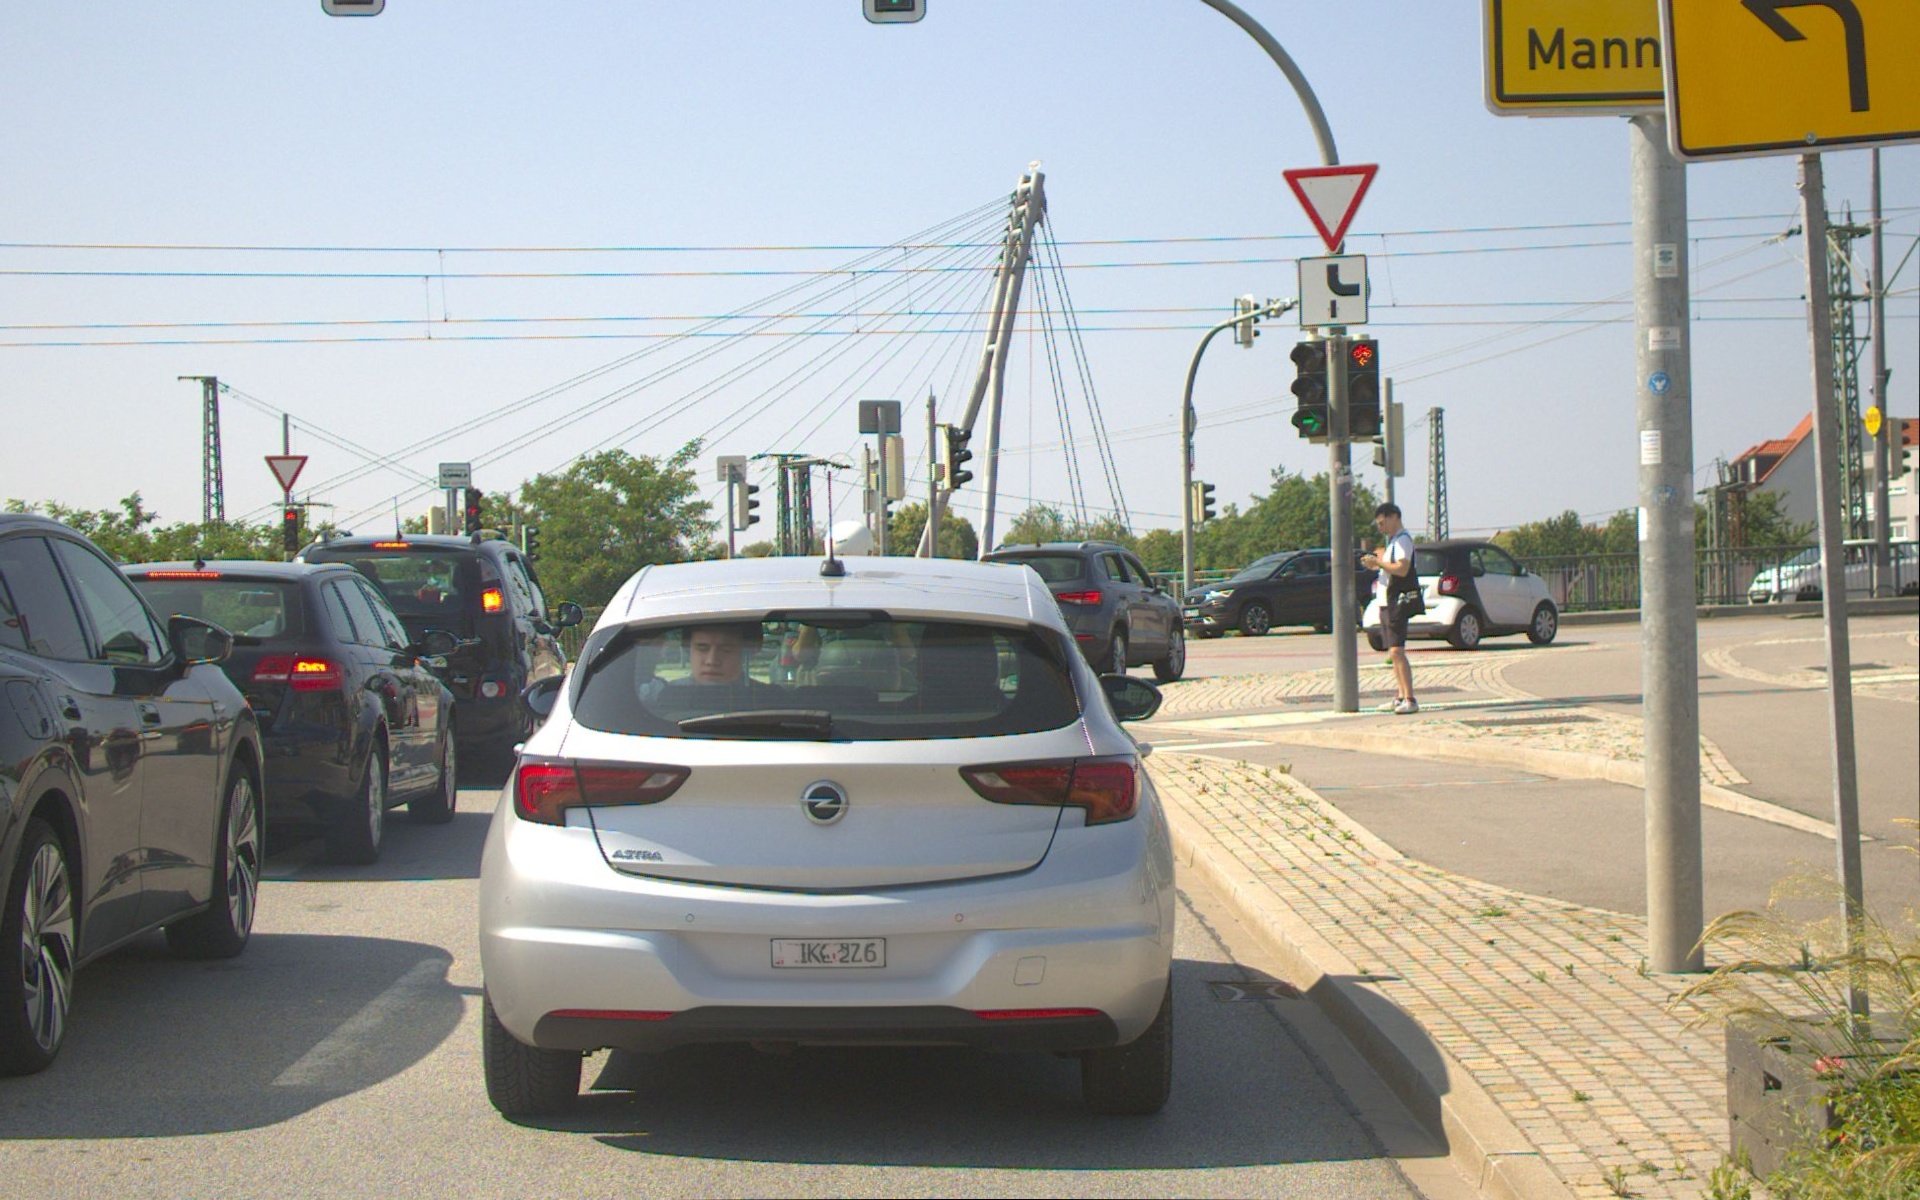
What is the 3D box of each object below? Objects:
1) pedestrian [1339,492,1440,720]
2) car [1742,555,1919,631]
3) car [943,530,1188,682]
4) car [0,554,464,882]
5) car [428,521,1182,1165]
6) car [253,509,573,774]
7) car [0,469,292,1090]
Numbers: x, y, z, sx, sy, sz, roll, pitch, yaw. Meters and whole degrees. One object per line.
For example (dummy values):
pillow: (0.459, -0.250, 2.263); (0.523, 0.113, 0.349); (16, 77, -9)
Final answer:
pedestrian: (3.541, 0.044, 28.401); (0.647, 1.830, 0.798); (-2, 0, -2)
car: (17.812, -0.146, 69.232); (3.623, 1.481, 1.691); (1, 0, -15)
car: (1.232, 0.018, 38.354); (1.725, 1.558, 3.997); (1, 2, 17)
car: (-3.509, 0.506, 17.063); (1.575, 1.429, 3.786); (1, 0, -1)
car: (-0.444, 0.555, 10.114); (1.743, 1.473, 4.000); (-1, 0, -2)
car: (-3.572, 0.242, 23.025); (1.649, 1.610, 3.820); (1, 0, -2)
car: (-3.419, 0.450, 10.738); (1.801, 1.636, 4.366); (1, 0, 0)
